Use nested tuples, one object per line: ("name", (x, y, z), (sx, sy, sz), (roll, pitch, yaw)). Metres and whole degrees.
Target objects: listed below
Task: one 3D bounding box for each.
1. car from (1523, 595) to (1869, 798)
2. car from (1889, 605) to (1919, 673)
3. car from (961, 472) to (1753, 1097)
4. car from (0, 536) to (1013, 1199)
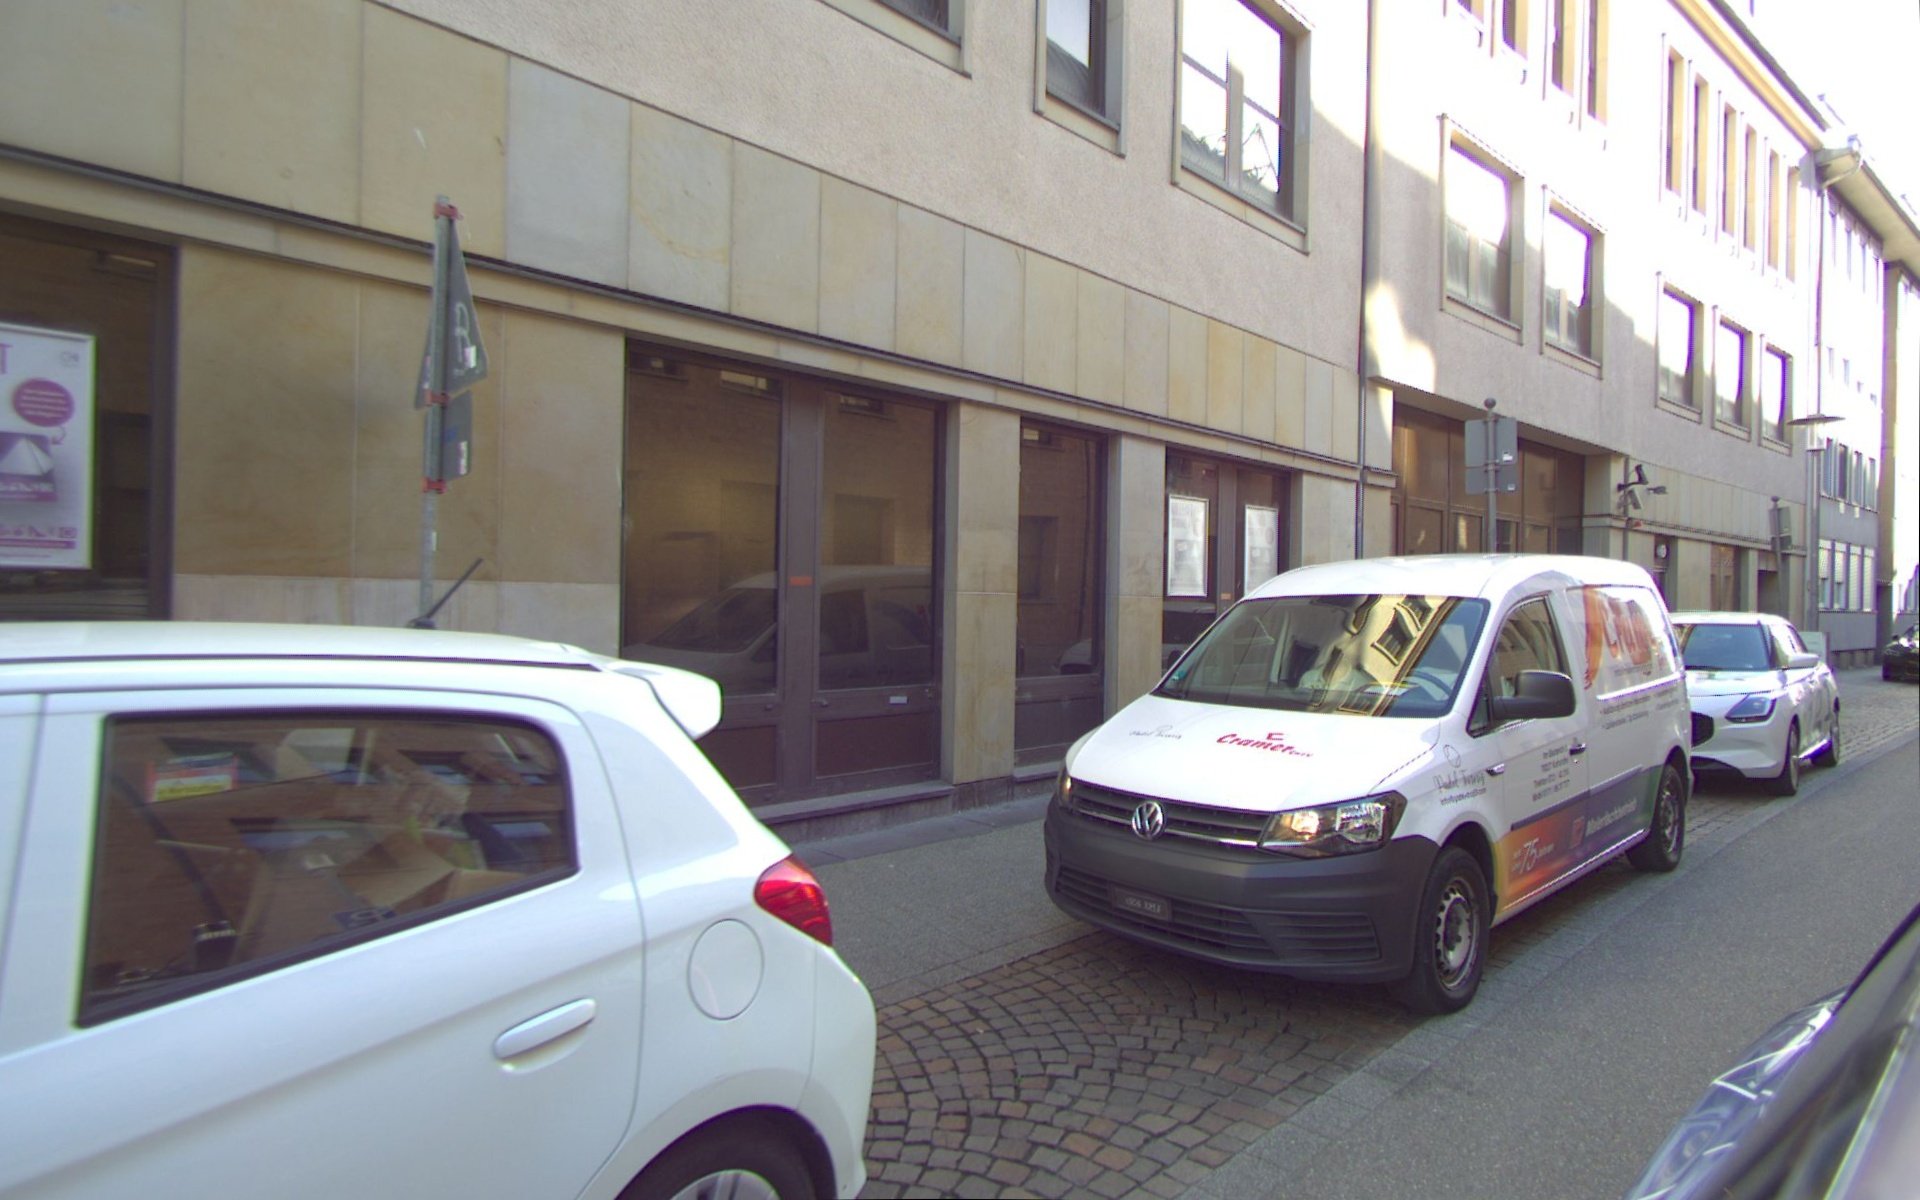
("car", (7.064, 0.751, 9.556), (4.096, 1.497, 1.842), (1, -2, -43))
("car", (22.912, 0.859, 22.934), (5.129, 1.472, 1.898), (1, -1, -38))
("car", (2.504, 0.542, 5.360), (5.124, 1.814, 1.833), (0, -1, -42))
("car", (-1.923, 0.691, 1.532), (1.888, 1.537, 3.999), (0, 0, 43))
